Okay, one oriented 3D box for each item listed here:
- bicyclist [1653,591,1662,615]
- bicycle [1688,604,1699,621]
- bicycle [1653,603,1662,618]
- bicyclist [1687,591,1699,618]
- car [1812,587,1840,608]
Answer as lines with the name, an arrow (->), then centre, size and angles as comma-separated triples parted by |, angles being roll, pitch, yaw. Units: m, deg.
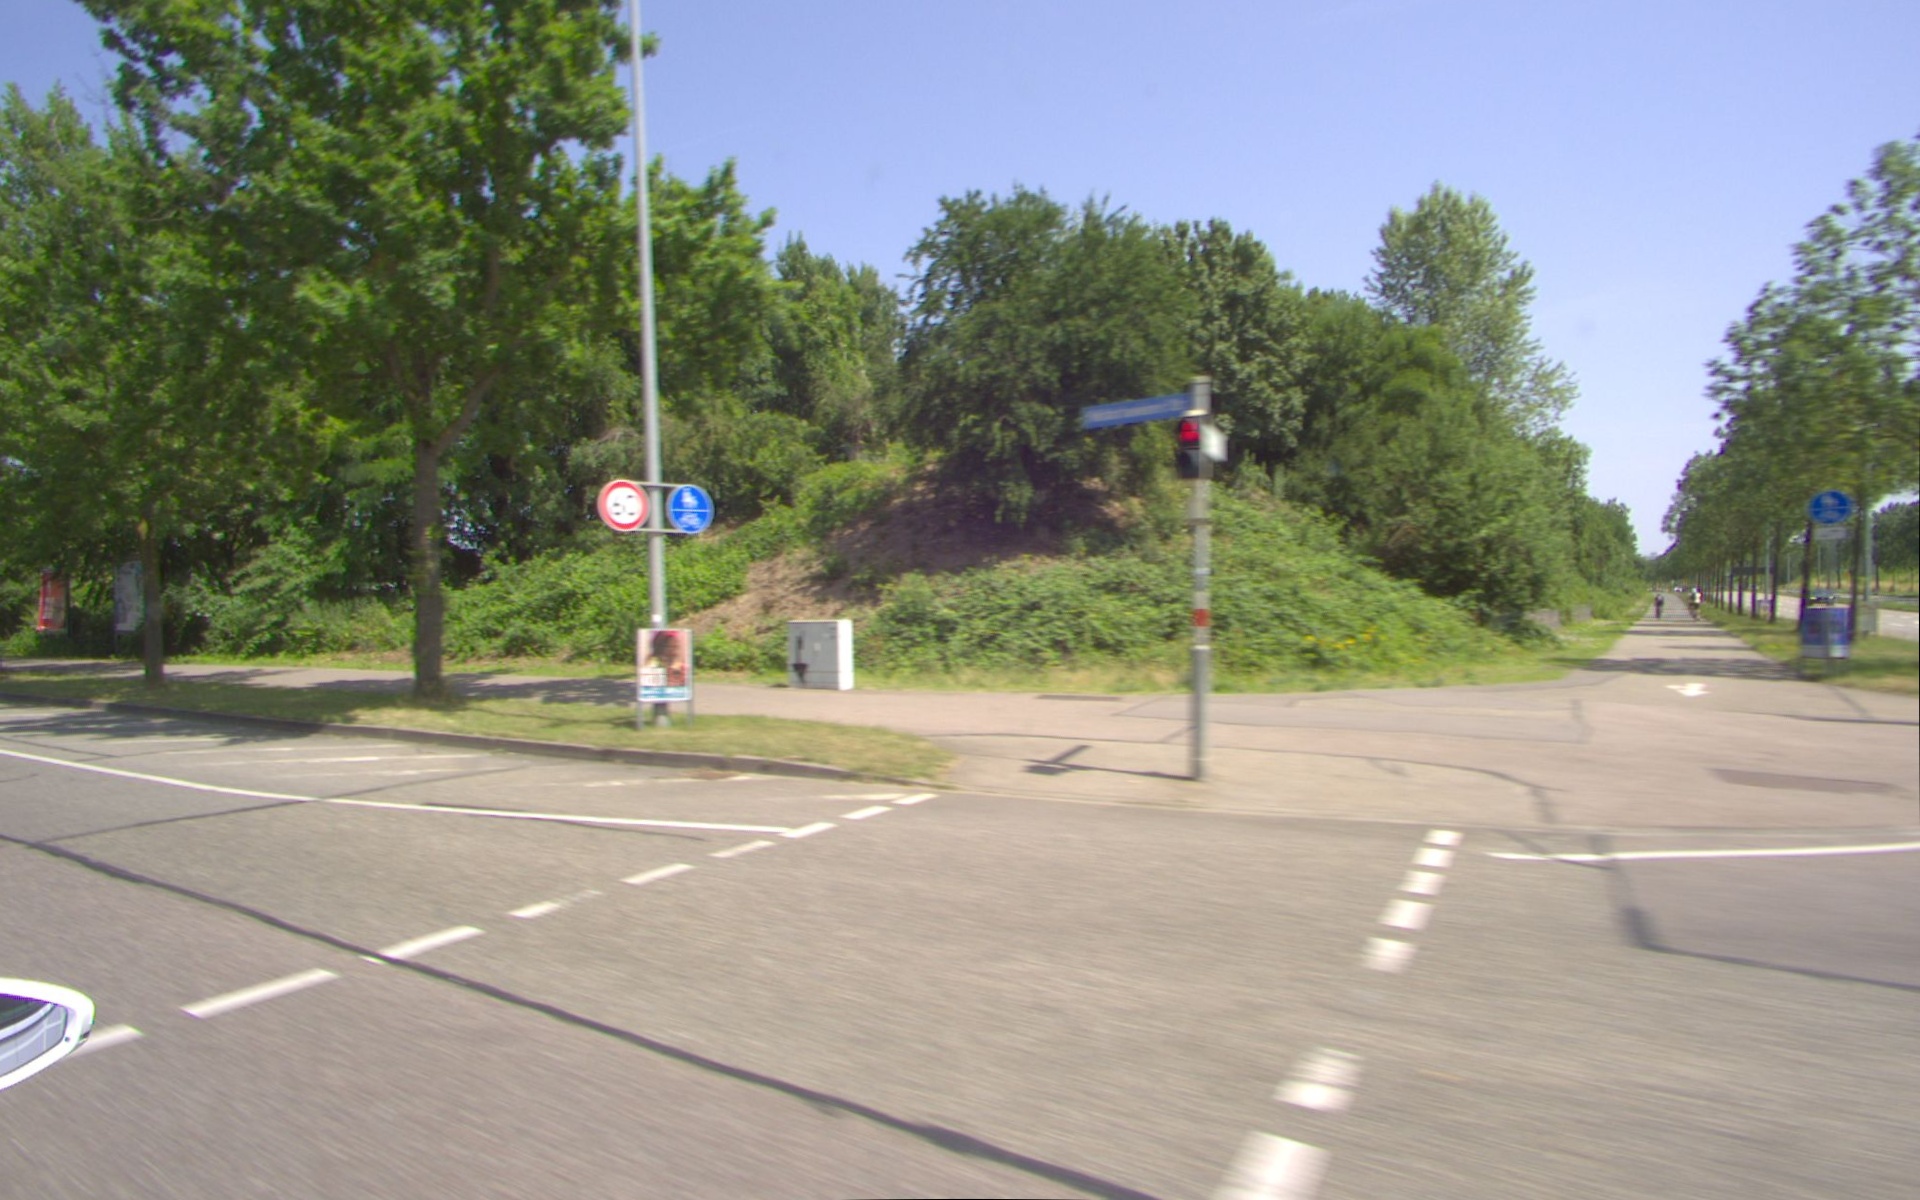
bicyclist -> 41.323, 0.168, 59.286 | 0.415, 1.401, 0.487 | 0, 1, 38
bicycle -> 38.659, 0.657, 52.792 | 0.435, 0.896, 1.443 | 0, 1, 38
bicycle -> 41.257, 0.627, 59.217 | 0.373, 0.896, 1.115 | 0, 1, 38
bicyclist -> 38.714, 0.237, 52.882 | 0.478, 1.453, 0.487 | 0, 1, 39
car -> 85.418, -0.268, 98.780 | 1.976, 2.040, 3.969 | 0, 0, 39
